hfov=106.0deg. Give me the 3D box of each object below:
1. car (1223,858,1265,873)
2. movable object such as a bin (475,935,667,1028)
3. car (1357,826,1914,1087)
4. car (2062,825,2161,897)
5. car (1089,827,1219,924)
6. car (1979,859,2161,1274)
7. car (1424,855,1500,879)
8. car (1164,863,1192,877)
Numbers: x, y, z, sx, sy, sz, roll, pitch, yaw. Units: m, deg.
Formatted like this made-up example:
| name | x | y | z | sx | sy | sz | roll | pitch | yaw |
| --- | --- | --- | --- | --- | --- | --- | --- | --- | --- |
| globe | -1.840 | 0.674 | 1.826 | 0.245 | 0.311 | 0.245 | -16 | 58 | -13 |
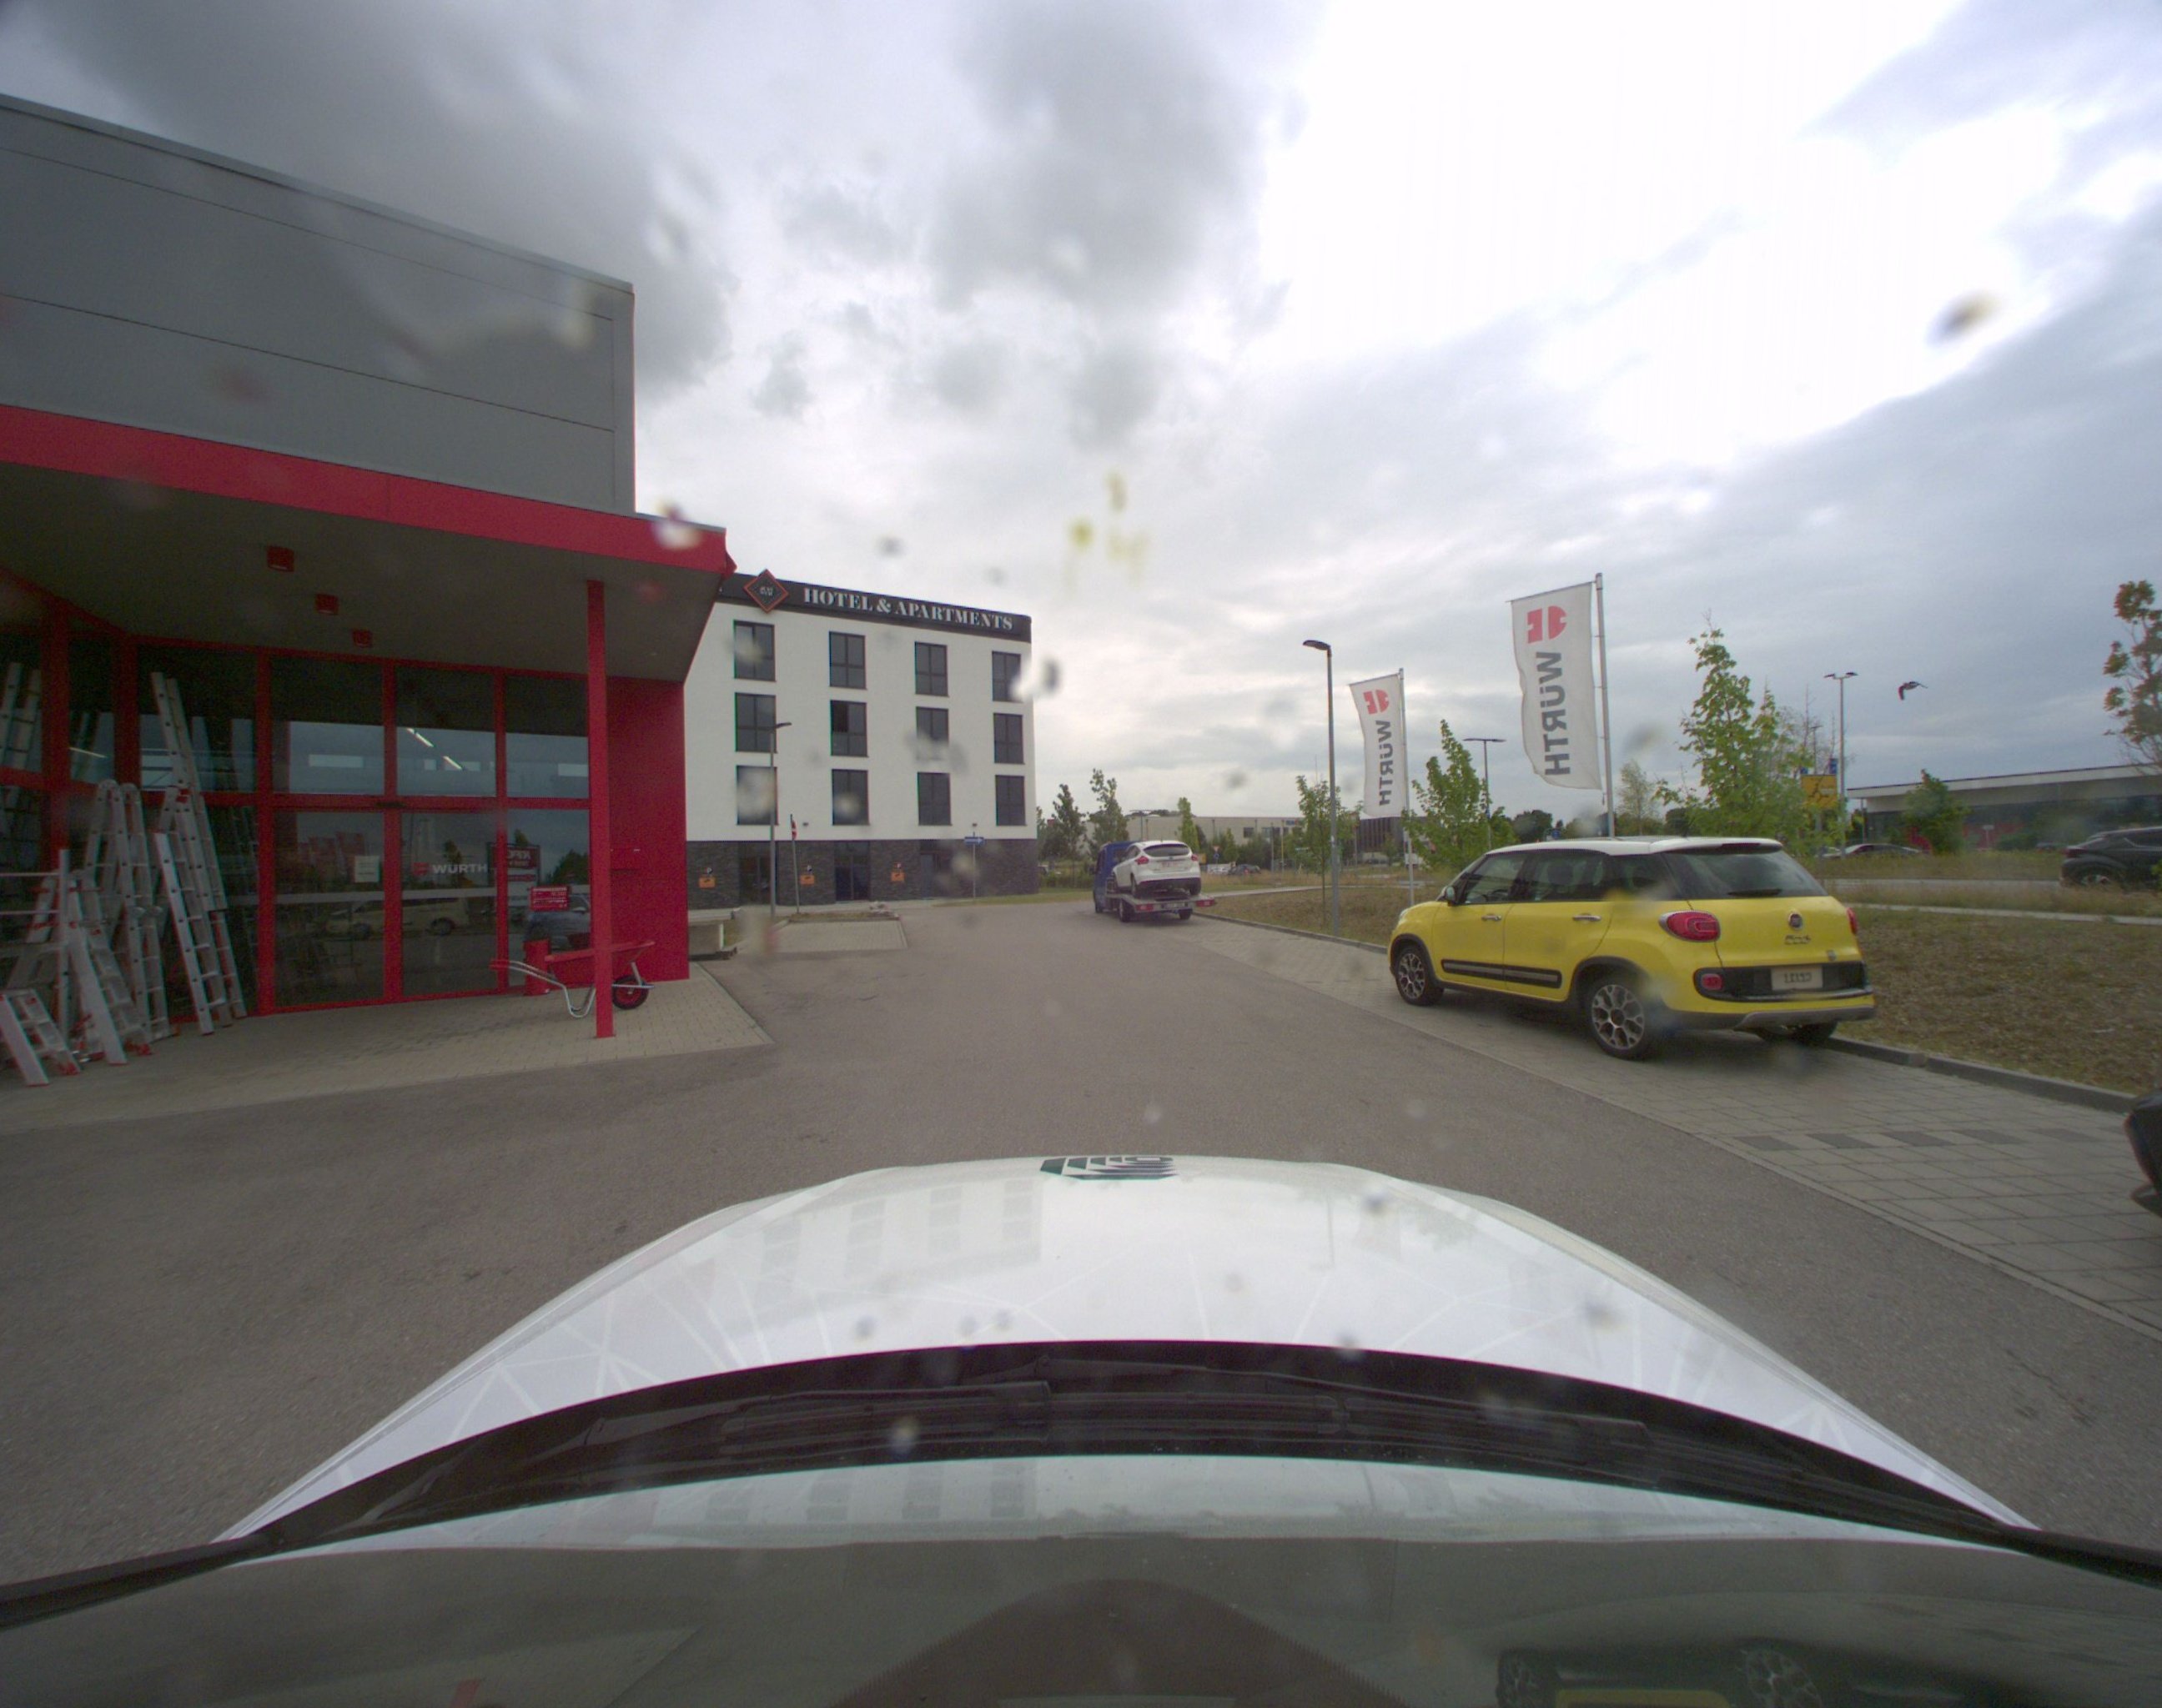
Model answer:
| name | x | y | z | sx | sy | sz | roll | pitch | yaw |
| --- | --- | --- | --- | --- | --- | --- | --- | --- | --- |
| car | 13.775 | 0.986 | 68.959 | 1.719 | 1.224 | 3.975 | -1 | -1 | -19 |
| movable object such as a bin | -5.175 | 1.270 | 8.379 | 1.589 | 0.716 | 0.796 | -1 | -1 | -30 |
| car | 4.491 | 0.695 | 7.573 | 1.748 | 1.683 | 4.282 | -1 | -1 | -11 |
| car | 21.413 | 0.097 | 14.985 | 1.752 | 1.354 | 3.992 | -2 | -1 | -6 |
| car | 1.841 | 0.625 | 23.982 | 2.192 | 2.323 | 7.837 | -1 | -1 | -7 |
| car | 4.691 | 0.695 | 1.235 | 1.744 | 1.416 | 4.298 | -1 | -1 | -5 |
| car | 22.029 | 0.761 | 47.293 | 1.719 | 1.324 | 3.975 | -1 | -1 | -18 |
| car | 10.002 | 1.638 | 83.804 | 1.568 | 1.420 | 3.473 | -1 | -1 | -17 |
